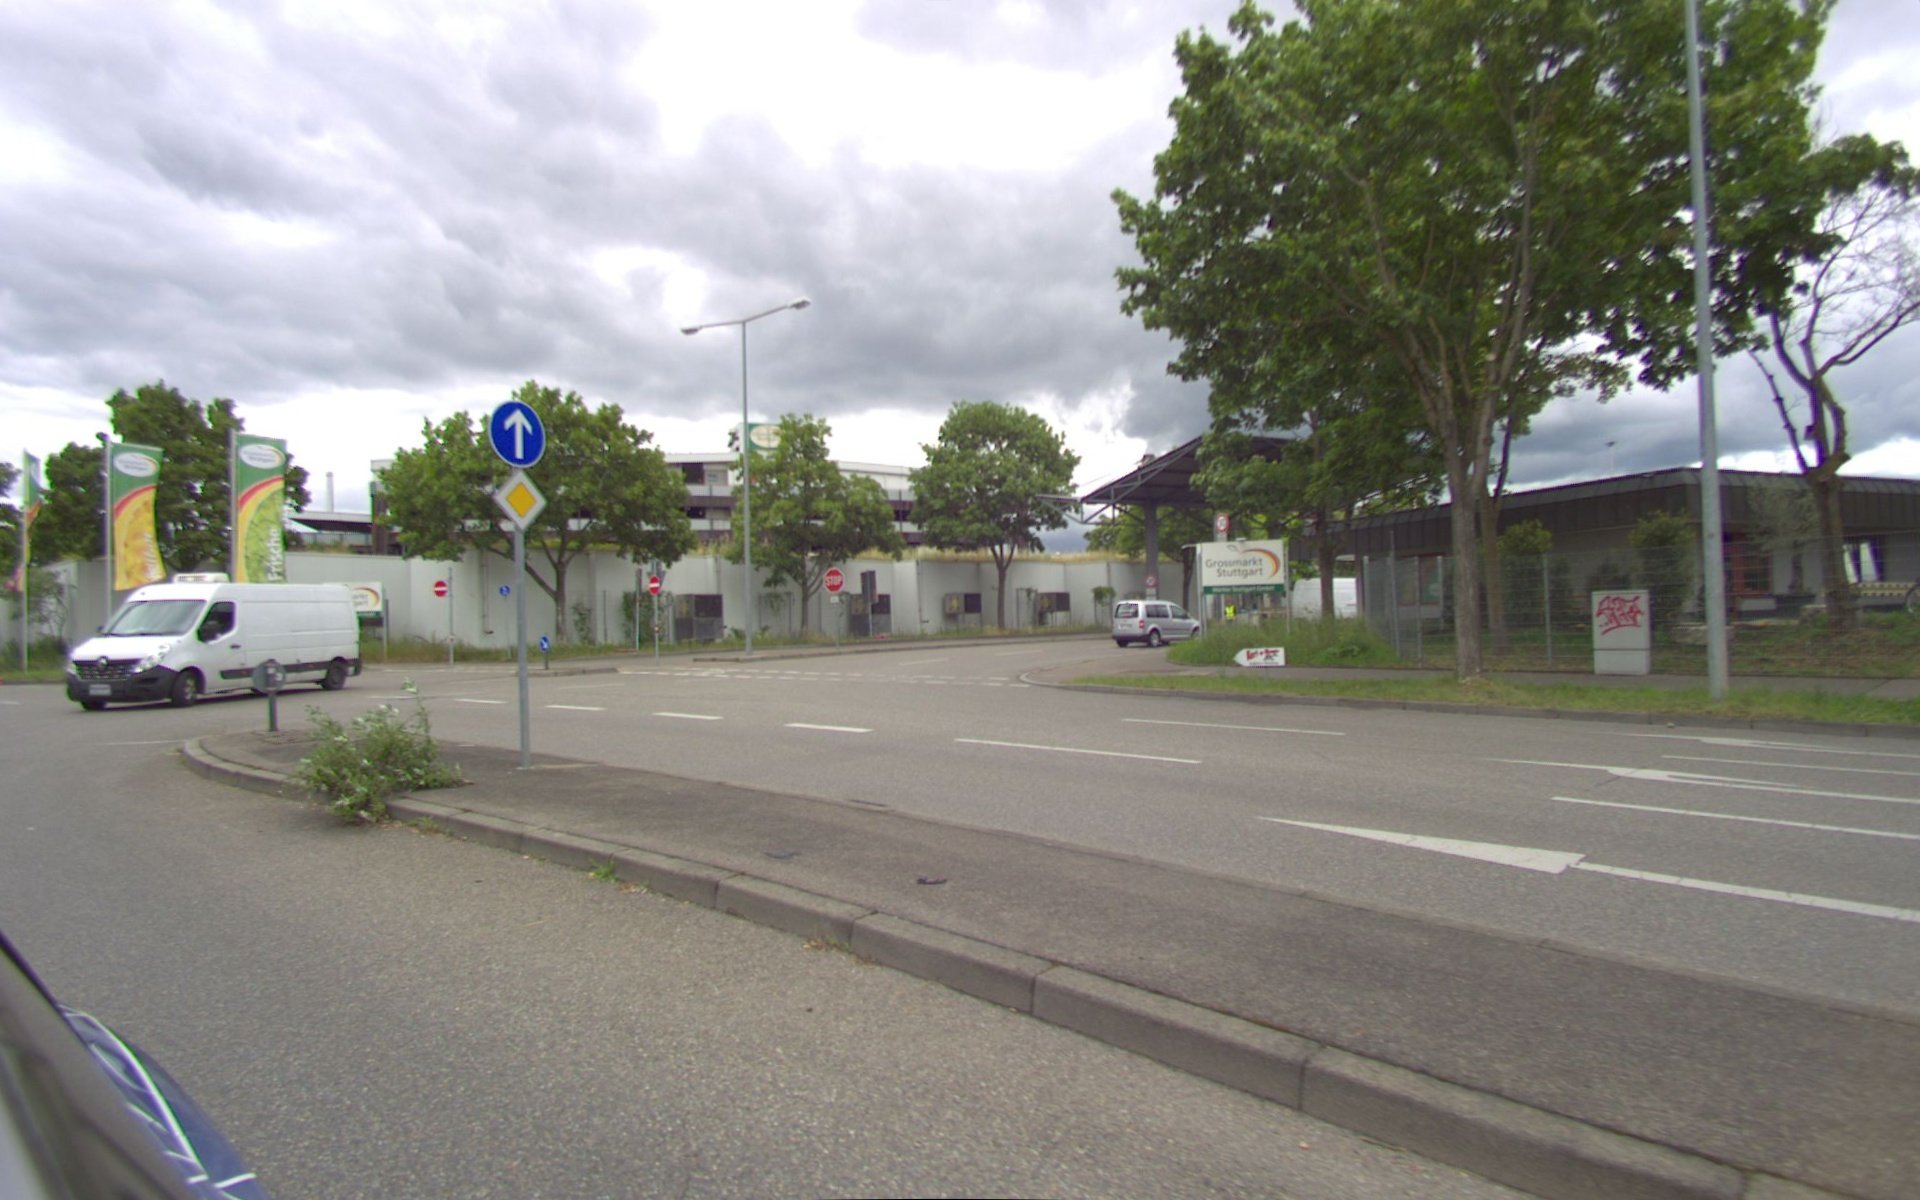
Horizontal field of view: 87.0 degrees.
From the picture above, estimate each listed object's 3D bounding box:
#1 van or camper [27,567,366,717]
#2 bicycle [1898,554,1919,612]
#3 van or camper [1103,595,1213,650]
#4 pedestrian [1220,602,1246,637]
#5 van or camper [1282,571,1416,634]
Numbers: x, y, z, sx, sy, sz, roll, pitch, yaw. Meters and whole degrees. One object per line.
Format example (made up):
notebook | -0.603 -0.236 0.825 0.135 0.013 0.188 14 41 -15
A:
van or camper | -15.461 0.802 21.155 2.243 2.576 6.103 -3 -1 3
bicycle | 17.158 -0.328 17.102 0.652 0.982 1.767 -1 -2 -25
van or camper | 7.896 0.869 40.211 4.208 1.978 1.962 -2 -1 -38
pedestrian | 12.704 0.912 47.108 0.803 1.571 0.771 0 -3 -34
van or camper | 17.954 0.078 46.584 6.467 2.576 2.338 -2 -1 -33
